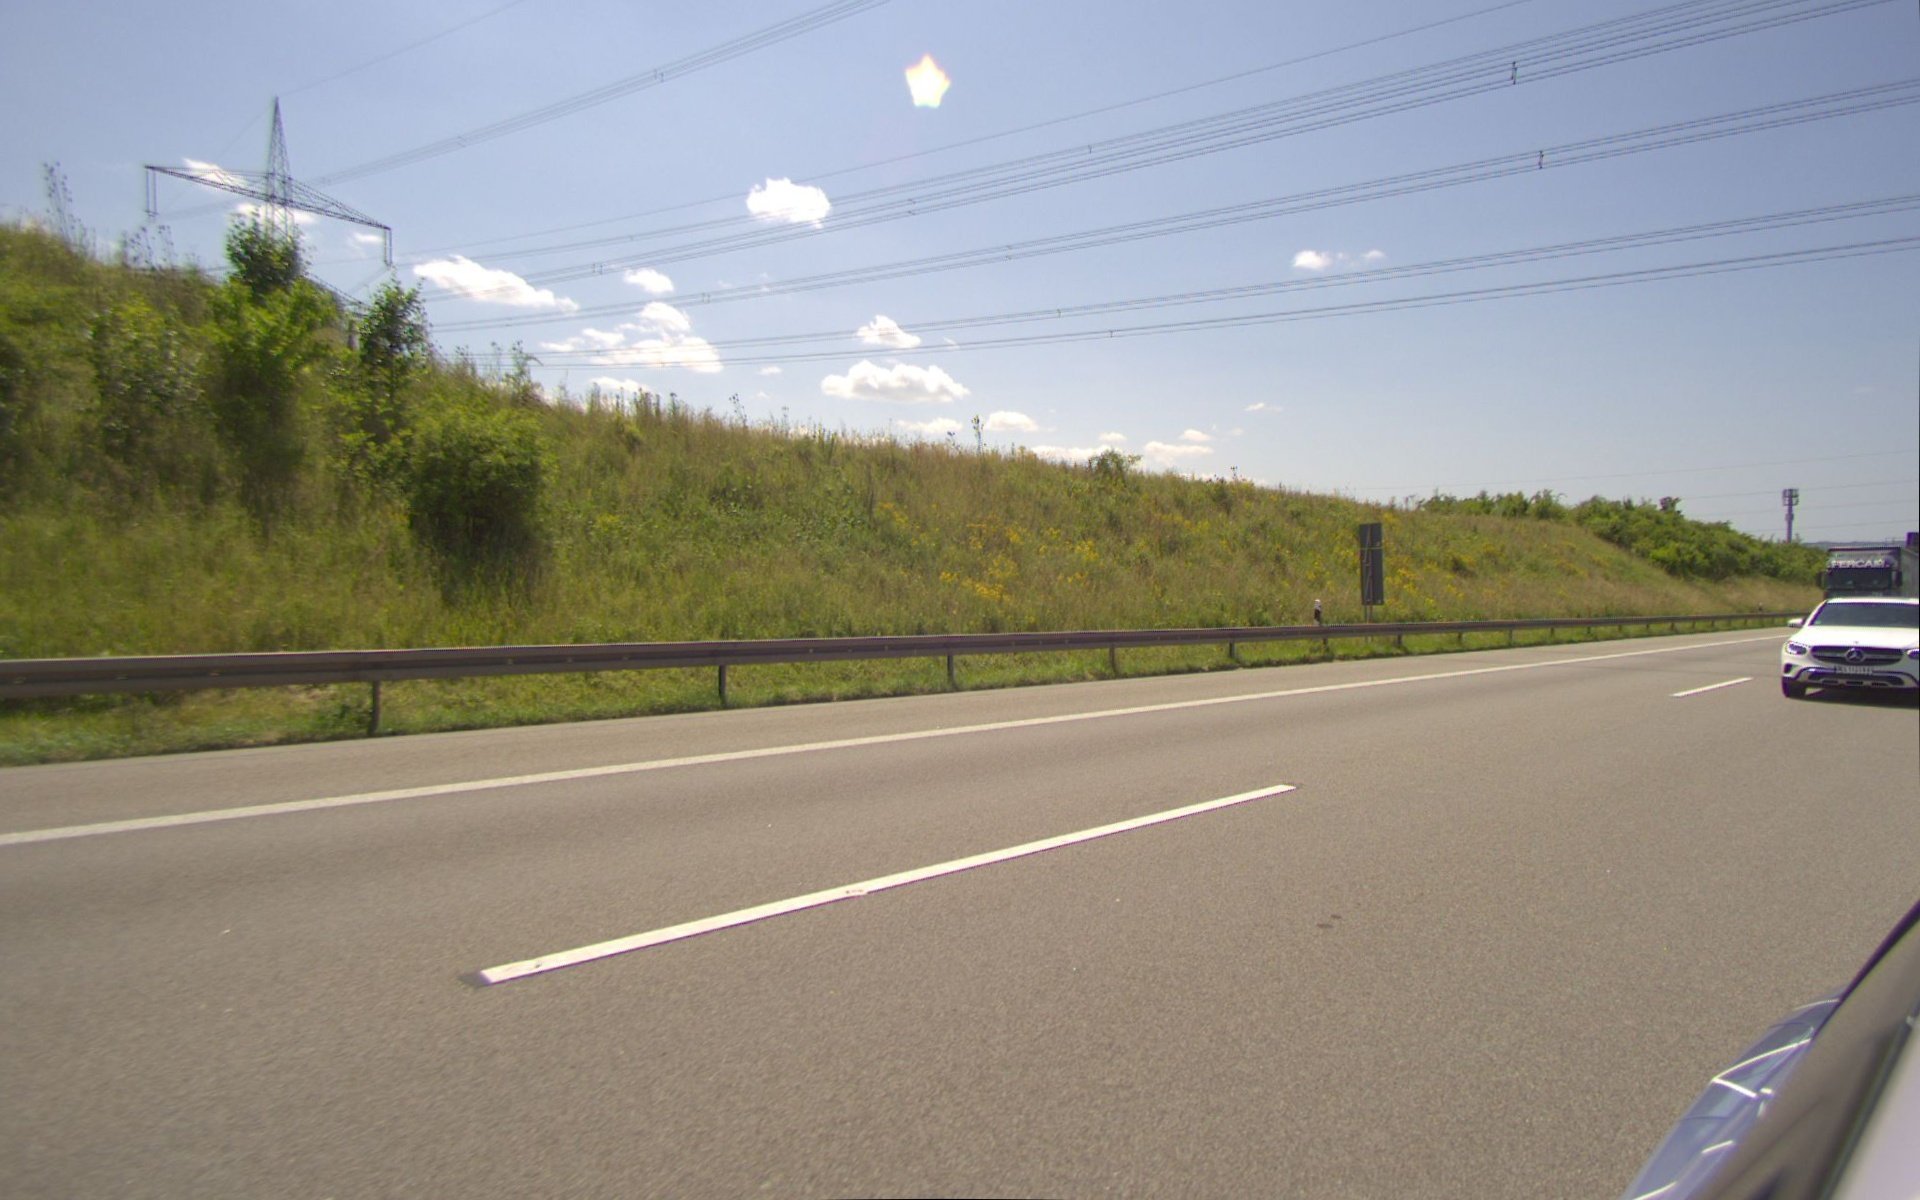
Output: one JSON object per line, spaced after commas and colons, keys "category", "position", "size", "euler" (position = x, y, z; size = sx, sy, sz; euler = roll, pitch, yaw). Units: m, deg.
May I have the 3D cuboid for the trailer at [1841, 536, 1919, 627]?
{"category": "trailer", "position": [47.550, -0.946, 51.491], "size": [11.606, 4.207, 2.729], "euler": [-1, 1, -42]}

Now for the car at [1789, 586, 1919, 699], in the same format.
{"category": "car", "position": [15.241, 0.576, 16.540], "size": [5.142, 1.600, 1.917], "euler": [-1, 1, -42]}

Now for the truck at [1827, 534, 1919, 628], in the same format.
{"category": "truck", "position": [42.628, -0.869, 47.016], "size": [6.673, 4.071, 2.756], "euler": [-1, 1, -42]}
